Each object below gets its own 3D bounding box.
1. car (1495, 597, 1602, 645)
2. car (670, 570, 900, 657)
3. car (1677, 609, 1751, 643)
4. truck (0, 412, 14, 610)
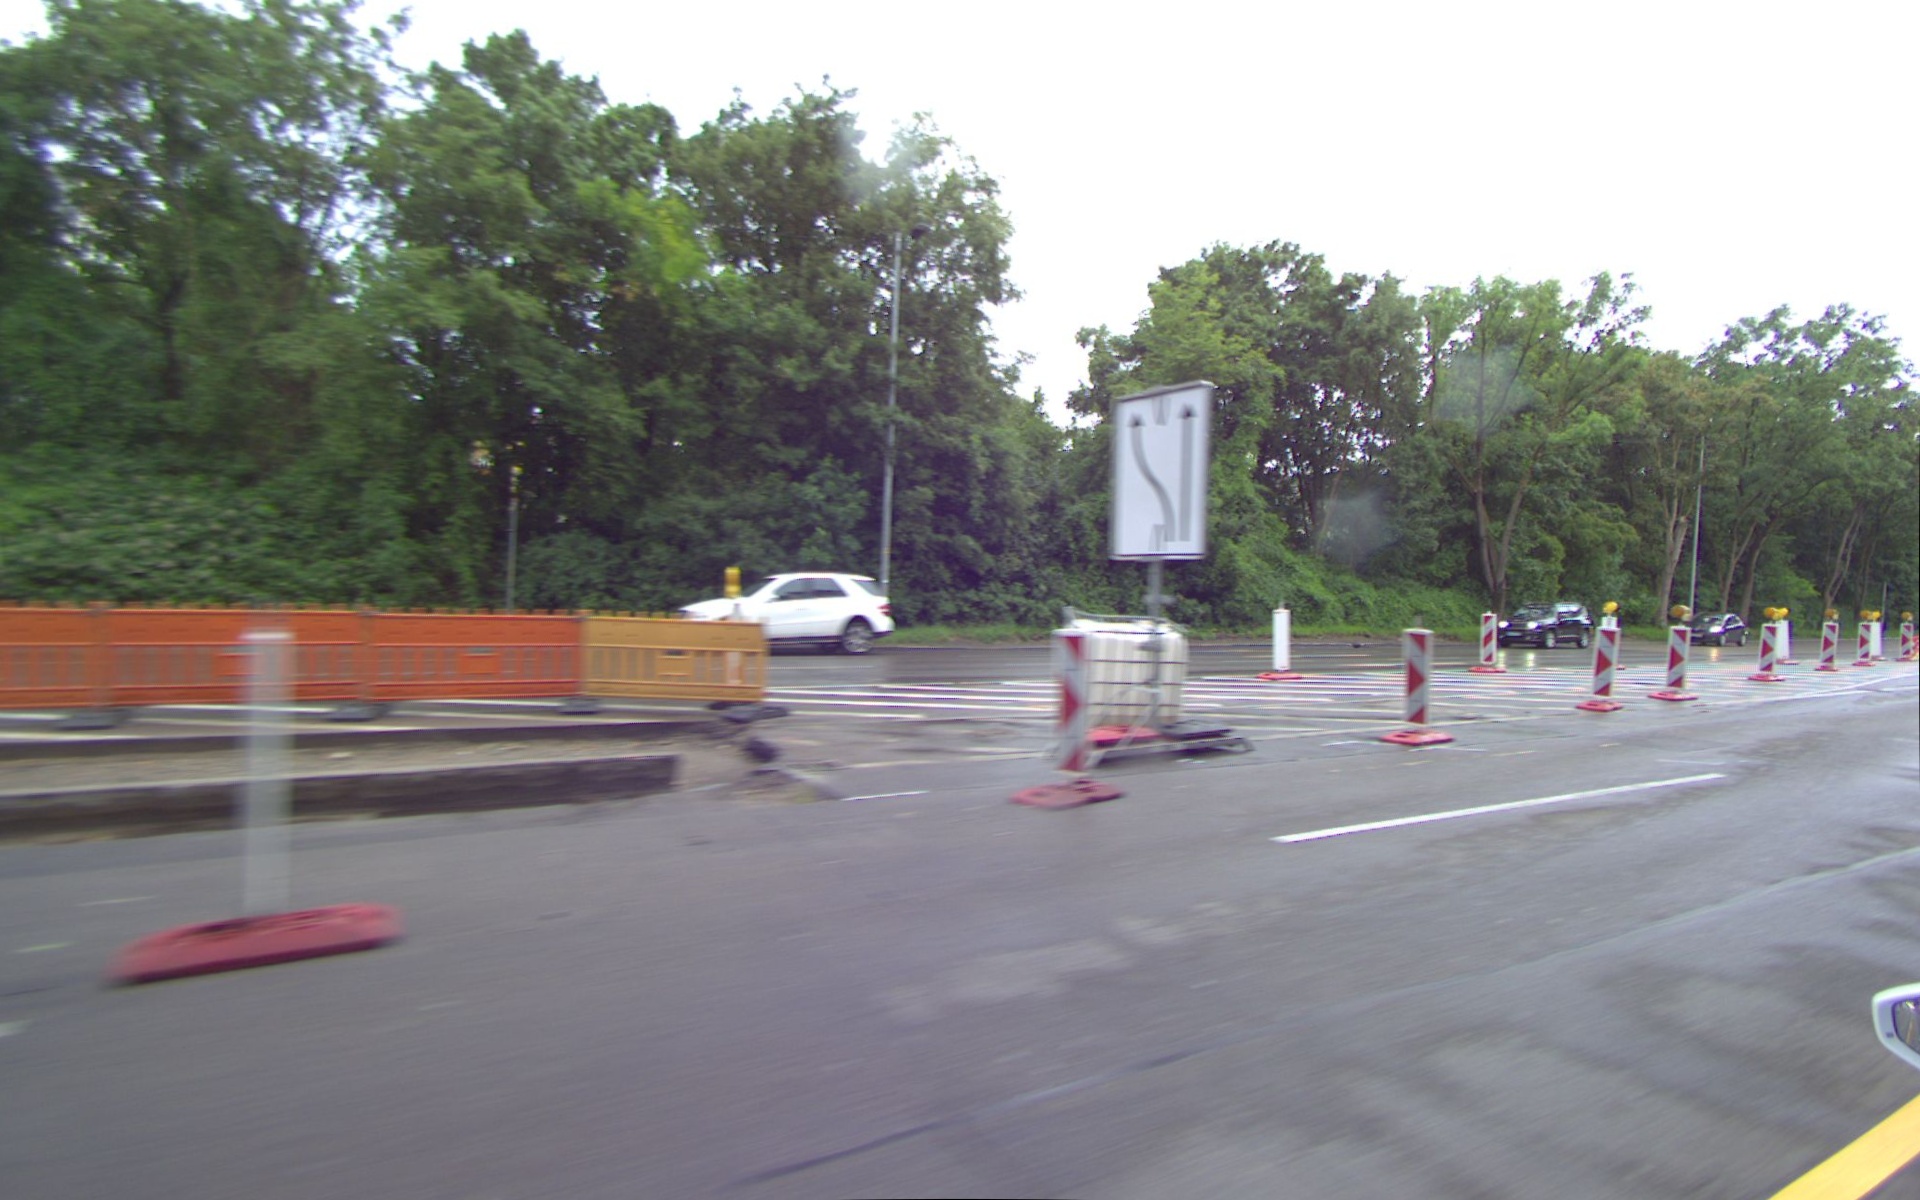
[{"bbox_3d":[21.789,0.779,37.143,4.151,1.669,1.627,1,0,-31],"label":"car"},{"bbox_3d":[-3.801,0.349,22.052,4.662,1.746,1.836,1,-2,-29],"label":"car"},{"bbox_3d":[34.275,1.171,45.654,3.500,1.476,1.517,1,-1,-32],"label":"car"},{"bbox_3d":[-19.543,-1.529,13.097,10.024,3.190,2.783,2,1,-29],"label":"truck"}]
